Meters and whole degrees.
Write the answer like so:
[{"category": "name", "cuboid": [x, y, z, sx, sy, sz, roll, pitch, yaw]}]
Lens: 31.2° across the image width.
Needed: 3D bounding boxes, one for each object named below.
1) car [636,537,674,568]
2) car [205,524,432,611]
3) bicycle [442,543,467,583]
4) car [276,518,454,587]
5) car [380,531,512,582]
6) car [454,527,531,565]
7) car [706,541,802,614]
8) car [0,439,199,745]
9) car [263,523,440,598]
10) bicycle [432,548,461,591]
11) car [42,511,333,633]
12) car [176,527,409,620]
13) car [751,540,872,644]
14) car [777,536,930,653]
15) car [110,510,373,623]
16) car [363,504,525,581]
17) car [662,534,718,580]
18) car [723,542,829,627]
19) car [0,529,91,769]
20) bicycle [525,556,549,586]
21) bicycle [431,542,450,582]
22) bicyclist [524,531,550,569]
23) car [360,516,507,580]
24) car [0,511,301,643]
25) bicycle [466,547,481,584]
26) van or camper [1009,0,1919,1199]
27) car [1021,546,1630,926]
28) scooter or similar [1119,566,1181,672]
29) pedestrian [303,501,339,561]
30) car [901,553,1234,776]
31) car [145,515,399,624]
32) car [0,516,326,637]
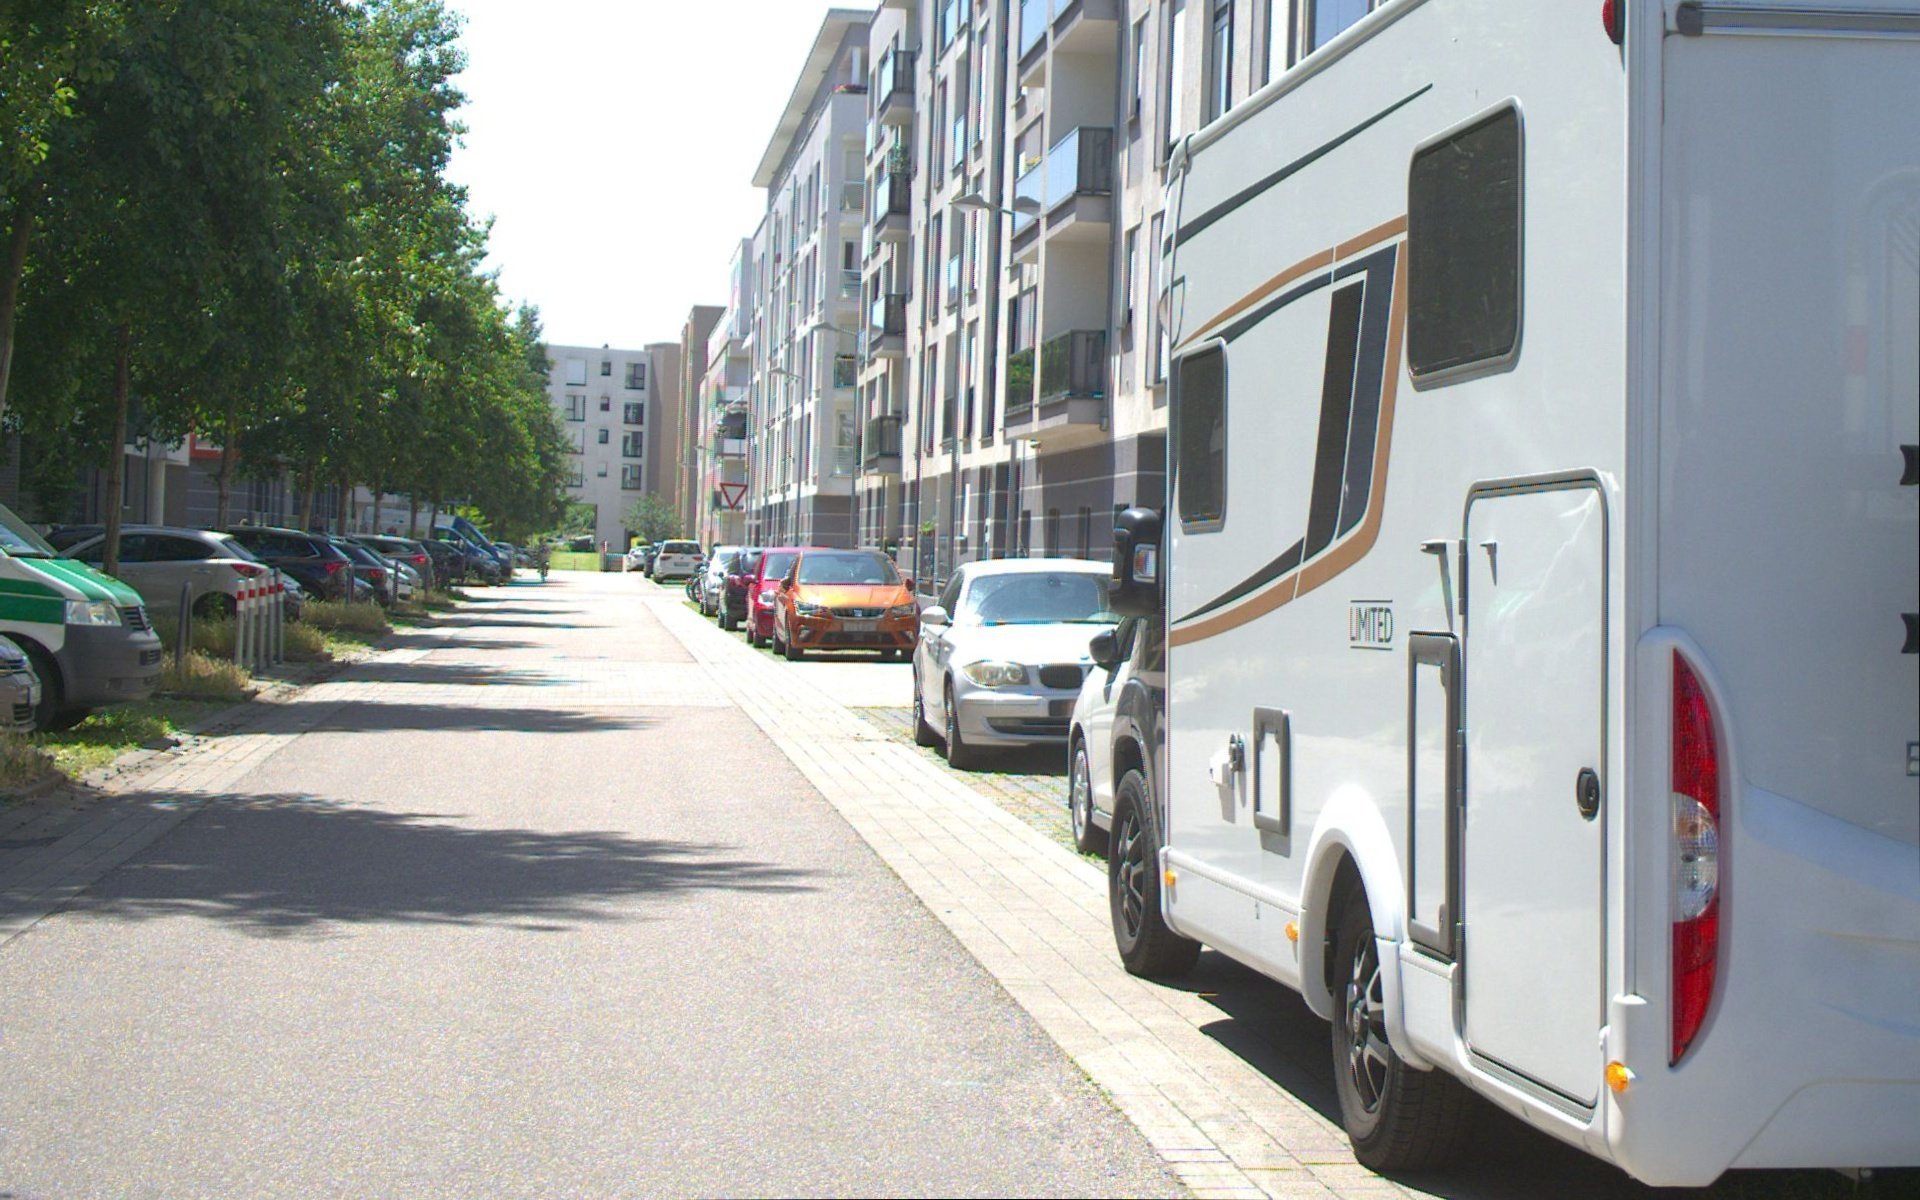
[{"category": "car", "cuboid": [-17.426, -2.717, 196.215, 1.993, 1.669, 4.001, 1, 1, -7]}, {"category": "car", "cuboid": [-12.777, -0.663, 68.687, 4.359, 1.704, 2.001, 0, 1, -8]}, {"category": "bicycle", "cuboid": [-16.166, -1.180, 109.957, 0.570, 1.170, 1.769, 4, 2, -13]}, {"category": "car", "cuboid": [-14.540, -1.153, 84.068, 4.179, 1.481, 1.959, 2, -1, -9]}, {"category": "car", "cuboid": [-17.926, -1.527, 119.954, 4.382, 1.509, 2.075, 3, 1, -6]}, {"category": "car", "cuboid": [-25.961, -3.014, 190.971, 3.987, 2.007, 2.000, 2, 1, 1]}, {"category": "car", "cuboid": [-4.376, -0.499, 72.461, 1.834, 1.499, 4.351, 0, 1, -6]}, {"category": "car", "cuboid": [-8.406, -0.122, 24.893, 5.341, 2.103, 2.187, 1, 1, -4]}, {"category": "car", "cuboid": [-14.343, -0.930, 81.176, 3.937, 1.548, 1.873, 3, 1, -6]}, {"category": "bicycle", "cuboid": [-13.683, -0.816, 91.597, 0.433, 1.124, 1.979, 1, 1, -18]}, {"category": "car", "cuboid": [-11.557, -0.431, 51.627, 3.986, 1.586, 1.884, 3, 1, -5]}, {"category": "car", "cuboid": [-11.951, -0.477, 61.719, 3.973, 1.440, 1.776, 3, 0, -10]}, {"category": "car", "cuboid": [-2.250, -0.141, 51.407, 1.595, 1.480, 3.676, 0, 1, -6]}, {"category": "car", "cuboid": [-1.468, -0.110, 45.920, 1.737, 1.482, 4.259, 0, 1, -6]}, {"category": "car", "cuboid": [-11.769, -0.561, 56.539, 3.986, 1.624, 1.934, 3, 1, -6]}, {"category": "car", "cuboid": [-19.853, -2.212, 132.438, 6.023, 2.806, 2.606, 1, 1, -6]}, {"category": "car", "cuboid": [-10.062, -1.620, 127.936, 1.997, 1.651, 4.116, 1, 1, -5]}, {"category": "car", "cuboid": [-3.306, -0.301, 61.121, 1.642, 1.457, 4.119, 0, 1, -6]}, {"category": "car", "cuboid": [-7.978, 0.243, 22.084, 4.419, 1.484, 2.001, 1, 1, -8]}, {"category": "bicycle", "cuboid": [-16.603, -1.143, 134.817, 0.898, 1.125, 2.040, 1, 1, -7]}, {"category": "bicycle", "cuboid": [-16.598, -1.222, 109.921, 0.434, 1.200, 1.700, 3, 2, -5]}, {"category": "bicyclist", "cuboid": [-16.582, -1.961, 134.736, 0.953, 1.454, 0.800, 1, 1, -6]}, {"category": "car", "cuboid": [-19.424, -1.916, 127.026, 5.144, 2.112, 2.312, 2, 1, -6]}, {"category": "car", "cuboid": [-11.219, -0.331, 46.629, 4.251, 1.512, 1.925, 4, 1, -6]}, {"category": "bicycle", "cuboid": [-15.602, -1.116, 110.232, 0.466, 1.138, 1.927, 1, 1, -8]}, {"category": "van or camper", "cuboid": [1.944, -0.035, 9.594, 2.438, 2.896, 7.828, 2, 0, -7]}, {"category": "car", "cuboid": [1.513, 0.509, 15.881, 1.806, 1.499, 4.262, 0, 1, -8]}, {"category": "scooter or similar", "cuboid": [2.298, 0.215, 41.466, 0.545, 1.221, 1.529, 3, 1, 9]}, {"category": "pedestrian", "cuboid": [-21.783, -2.339, 117.218, 1.009, 2.007, 1.129, 1, 1, -3]}, {"category": "car", "cuboid": [0.676, 0.398, 24.858, 1.845, 1.411, 4.427, 2, 1, -5]}, {"category": "car", "cuboid": [-11.785, -0.535, 59.076, 3.986, 1.645, 1.918, 3, 1, -4]}, {"category": "car", "cuboid": [-11.348, -0.347, 49.075, 4.315, 1.471, 1.793, 3, 1, -6]}]
